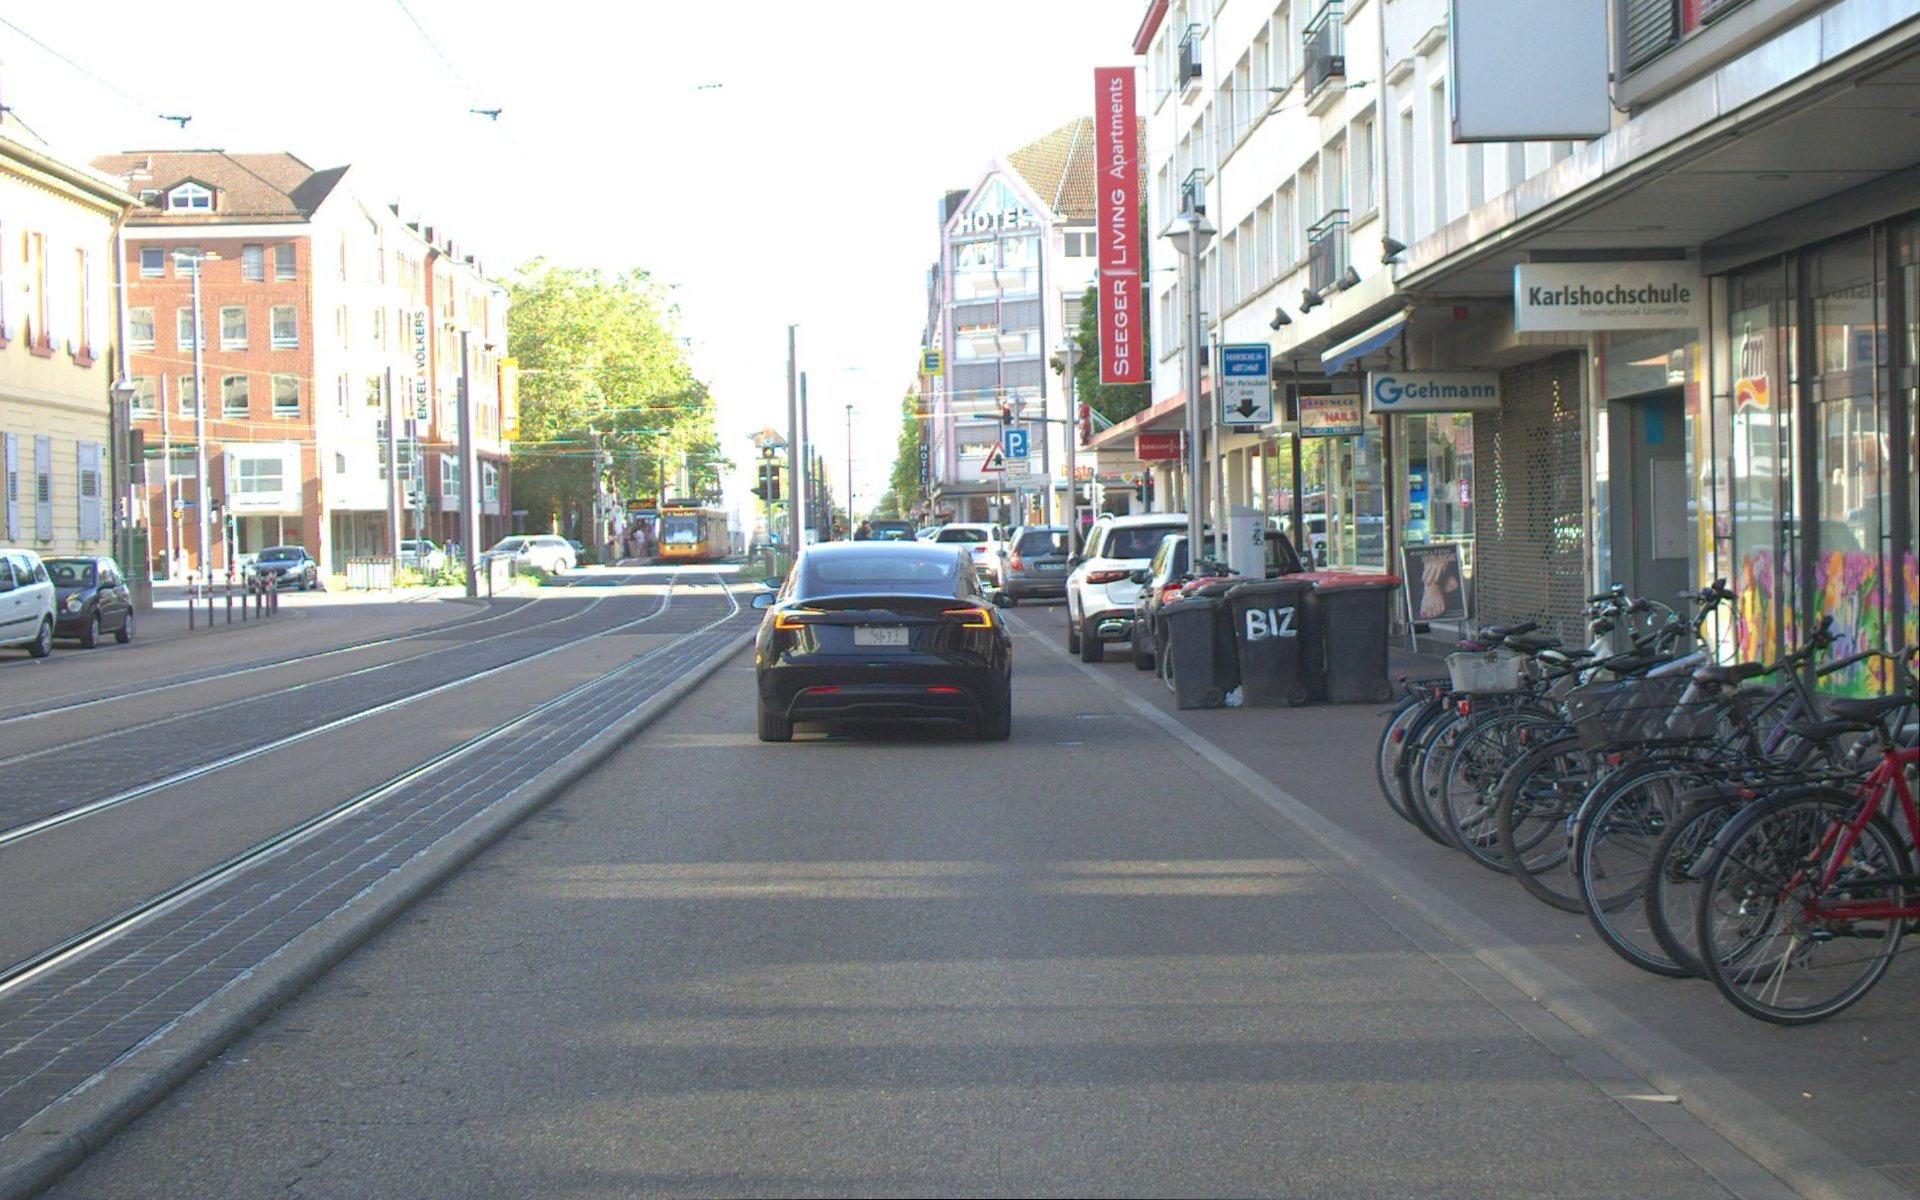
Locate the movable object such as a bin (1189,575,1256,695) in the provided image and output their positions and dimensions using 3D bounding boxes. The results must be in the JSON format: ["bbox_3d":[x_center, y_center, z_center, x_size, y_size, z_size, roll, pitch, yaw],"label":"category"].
[{"bbox_3d":[2.289,0.300,30.060,0.522,1.010,0.671,-2,1,2],"label":"movable object such as a bin"}]

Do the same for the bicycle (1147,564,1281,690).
[{"bbox_3d":[2.306,0.242,31.212,1.131,1.076,0.320,-3,1,-2],"label":"bicycle"}]

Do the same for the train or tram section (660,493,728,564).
[{"bbox_3d":[-14.466,-3.870,187.876,2.674,3.703,14.193,1,1,-1],"label":"train or tram section"}]

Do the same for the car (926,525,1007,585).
[{"bbox_3d":[0.147,-1.171,88.936,1.783,1.514,4.219,1,1,-4],"label":"car"}]

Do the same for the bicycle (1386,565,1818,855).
[{"bbox_3d":[2.890,0.482,15.568,1.787,1.213,0.669,-2,1,-1],"label":"bicycle"}]

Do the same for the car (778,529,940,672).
[{"bbox_3d":[-1.053,-0.036,37.347,1.653,1.413,4.000,1,2,0],"label":"car"}]

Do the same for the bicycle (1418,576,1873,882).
[{"bbox_3d":[2.919,0.538,14.717,1.787,1.213,0.587,-2,1,-1],"label":"bicycle"}]

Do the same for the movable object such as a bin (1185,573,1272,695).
[{"bbox_3d":[2.290,0.286,29.335,0.686,1.010,0.508,-2,1,2],"label":"movable object such as a bin"}]

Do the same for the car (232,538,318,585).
[{"bbox_3d":[-21.955,-1.240,110.355,1.903,1.459,4.000,1,1,1],"label":"car"}]

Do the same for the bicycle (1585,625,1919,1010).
[{"bbox_3d":[2.924,0.656,10.867,1.773,1.127,0.479,-2,1,-6],"label":"bicycle"}]

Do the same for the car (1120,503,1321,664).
[{"bbox_3d":[2.645,-0.195,35.641,1.614,1.523,4.071,-2,1,-2],"label":"car"}]

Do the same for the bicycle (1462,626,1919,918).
[{"bbox_3d":[2.900,0.655,13.352,1.773,1.028,0.597,-2,1,-1],"label":"bicycle"}]

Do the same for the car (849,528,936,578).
[{"bbox_3d":[-2.140,-1.475,107.209,1.824,1.514,4.219,1,1,-14],"label":"car"}]

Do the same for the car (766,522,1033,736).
[{"bbox_3d":[-0.490,0.172,25.777,1.849,1.479,3.788,0,1,-2],"label":"car"}]

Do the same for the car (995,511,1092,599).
[{"bbox_3d":[1.630,-0.917,68.298,1.745,1.626,3.649,-2,2,-1],"label":"car"}]

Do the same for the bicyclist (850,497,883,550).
[{"bbox_3d":[-2.646,-2.165,97.164,0.836,1.494,0.560,1,1,-8],"label":"bicyclist"}]

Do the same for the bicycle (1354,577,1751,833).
[{"bbox_3d":[2.888,0.501,16.858,1.787,1.155,0.669,-2,1,-1],"label":"bicycle"}]

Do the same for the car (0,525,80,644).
[{"bbox_3d":[-14.353,-0.255,49.956,1.808,1.680,4.648,1,1,1],"label":"car"}]

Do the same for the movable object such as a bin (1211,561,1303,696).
[{"bbox_3d":[2.470,0.232,28.622,0.690,1.085,0.685,-2,1,2],"label":"movable object such as a bin"}]

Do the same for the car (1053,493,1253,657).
[{"bbox_3d":[2.211,-0.317,40.631,1.849,1.718,5.193,-3,1,-2],"label":"car"}]

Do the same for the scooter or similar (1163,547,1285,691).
[{"bbox_3d":[2.356,0.166,30.664,0.992,1.227,0.320,-3,1,-2],"label":"scooter or similar"}]

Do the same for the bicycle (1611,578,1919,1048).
[{"bbox_3d":[3.038,0.568,10.242,2.035,1.270,0.525,-4,2,-10],"label":"bicycle"}]

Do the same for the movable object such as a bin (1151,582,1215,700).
[{"bbox_3d":[1.859,0.340,28.704,0.487,0.955,0.457,-2,1,2],"label":"movable object such as a bin"}]

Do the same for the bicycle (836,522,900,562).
[{"bbox_3d":[-2.596,-1.643,97.148,1.727,1.084,0.678,1,1,-8],"label":"bicycle"}]

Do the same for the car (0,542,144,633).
[{"bbox_3d":[-14.388,-0.226,55.533,1.614,1.396,3.720,1,1,-2],"label":"car"}]

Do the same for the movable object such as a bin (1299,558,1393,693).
[{"bbox_3d":[3.210,0.206,28.624,0.690,1.085,0.666,-2,1,2],"label":"movable object such as a bin"}]

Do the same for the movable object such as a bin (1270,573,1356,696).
[{"bbox_3d":[3.011,0.289,29.350,0.658,1.010,0.636,-2,1,2],"label":"movable object such as a bin"}]
